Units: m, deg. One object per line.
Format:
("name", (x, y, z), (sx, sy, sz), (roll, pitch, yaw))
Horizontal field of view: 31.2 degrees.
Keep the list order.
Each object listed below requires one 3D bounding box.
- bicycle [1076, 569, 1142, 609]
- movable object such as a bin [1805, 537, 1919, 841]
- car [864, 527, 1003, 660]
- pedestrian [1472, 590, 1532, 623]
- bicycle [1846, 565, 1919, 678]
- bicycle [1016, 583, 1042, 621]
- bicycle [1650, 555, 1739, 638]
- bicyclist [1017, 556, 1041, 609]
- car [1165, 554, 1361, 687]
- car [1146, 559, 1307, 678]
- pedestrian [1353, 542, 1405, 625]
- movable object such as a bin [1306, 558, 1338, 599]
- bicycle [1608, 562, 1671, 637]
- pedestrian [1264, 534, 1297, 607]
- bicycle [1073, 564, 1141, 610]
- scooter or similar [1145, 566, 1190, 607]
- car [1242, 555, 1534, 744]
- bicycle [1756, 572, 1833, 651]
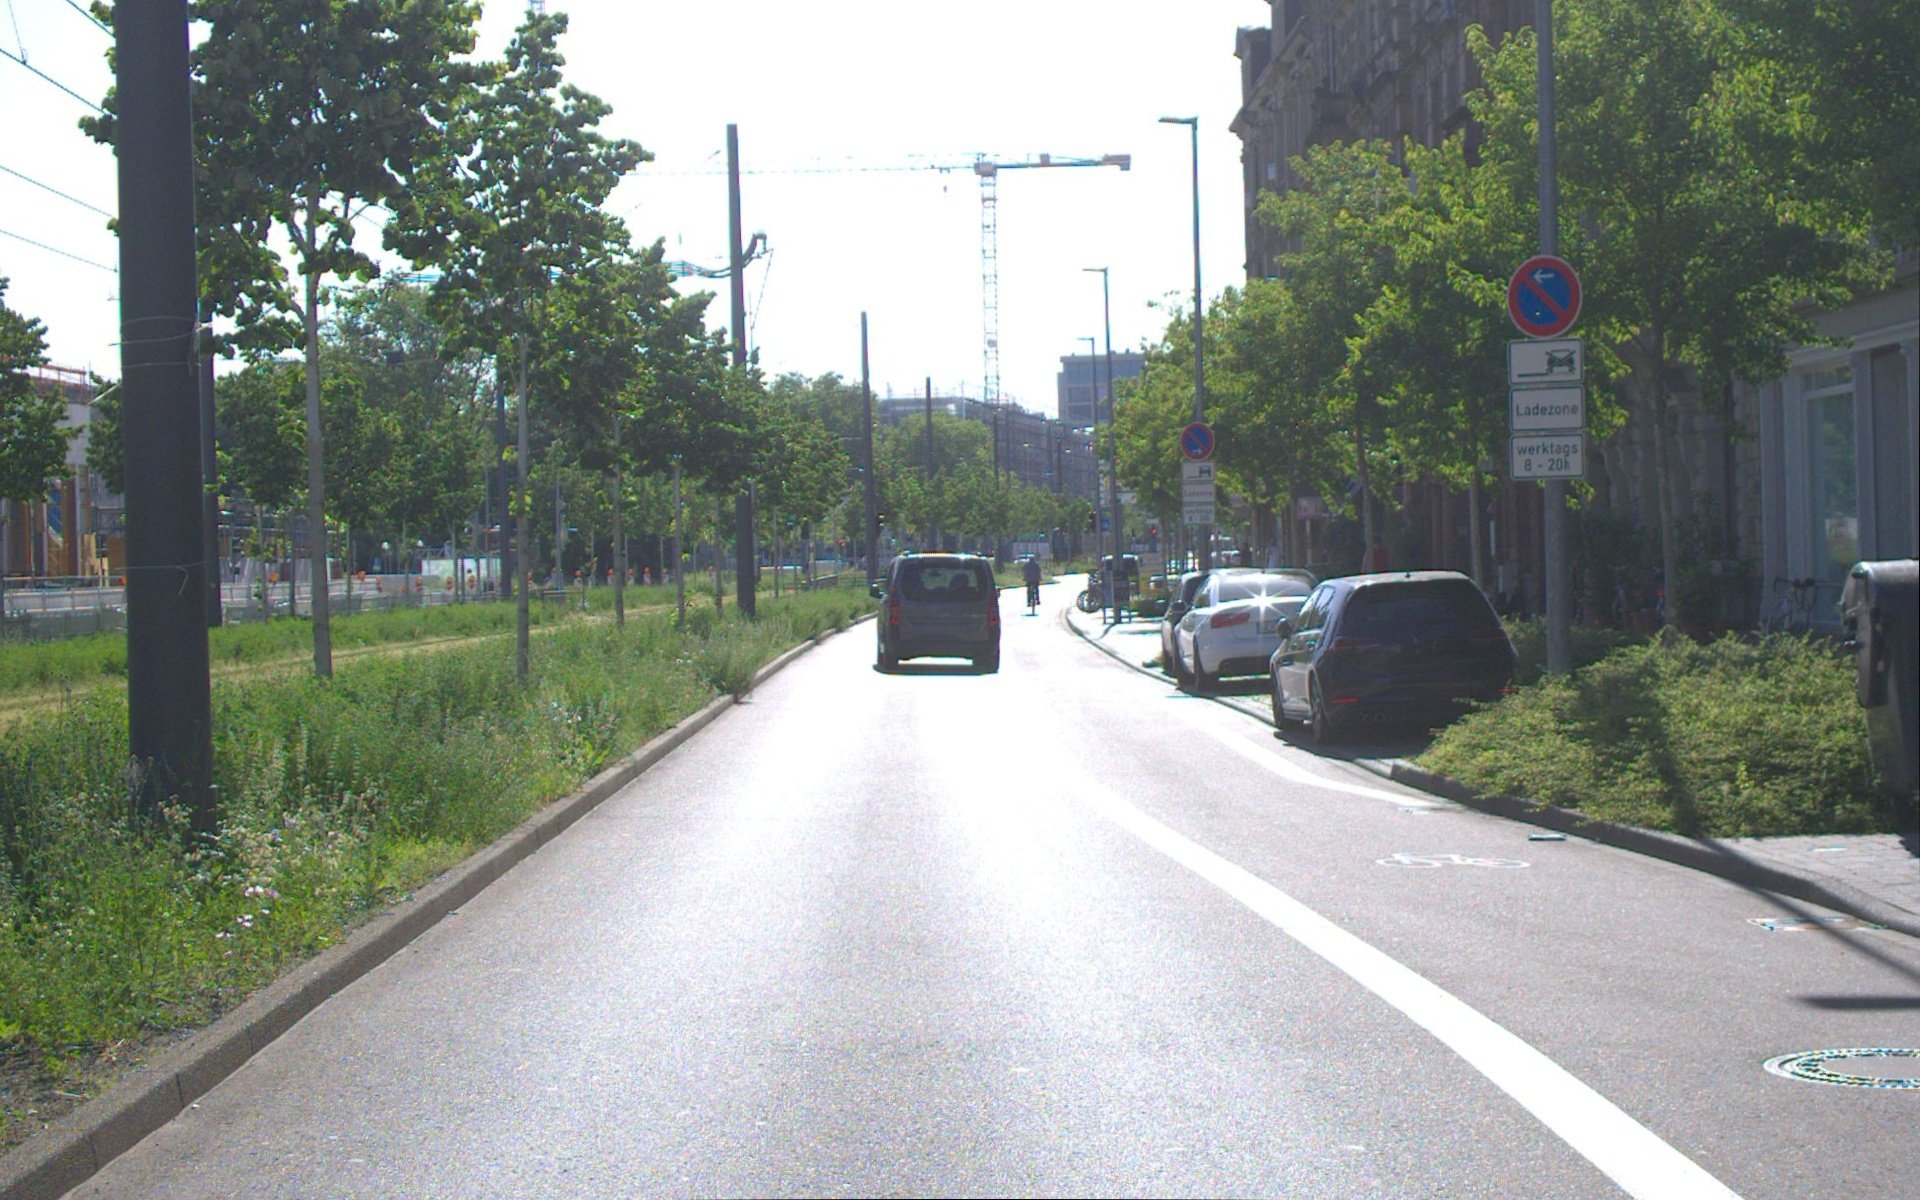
("bicycle", (4.442, -0.321, 102.514), (1.824, 1.075, 0.665), (-4, 0, -6))
("movable object such as a bin", (5.232, 0.424, 18.024), (1.271, 1.458, 1.644), (-2, 3, 4))
("car", (-0.456, -0.096, 53.932), (1.993, 2.007, 4.000), (0, 0, -3))
("pedestrian", (10.116, 0.111, 64.211), (0.773, 0.551, 2.007), (-1, 1, -1))
("bicycle", (10.145, 0.206, 36.248), (0.875, 1.101, 2.182), (-4, 1, -3))
("bicycle", (2.080, 0.054, 103.801), (0.701, 1.087, 2.277), (-1, 1, -1))
("bicycle", (10.110, -0.062, 47.382), (0.721, 1.086, 2.198), (-2, 1, 0))
("bicyclist", (2.085, -0.534, 103.923), (0.683, 1.579, 0.840), (-1, 1, -1))
("car", (3.772, 0.222, 43.611), (1.951, 1.490, 5.105), (-3, 0, 0))
("car", (3.858, 0.255, 50.346), (1.884, 1.564, 4.220), (-3, 0, -1))
("pedestrian", (8.806, -0.342, 72.274), (0.996, 1.725, 0.866), (0, 0, -1))
("movable object such as a bin", (9.759, -0.592, 92.735), (0.725, 1.094, 0.748), (-1, 1, -5))
("bicycle", (10.215, -0.016, 51.728), (0.481, 1.086, 2.057), (-2, 1, 0))
("pedestrian", (8.947, -0.825, 95.954), (0.817, 2.007, 1.046), (0, -2, 0))
("bicycle", (4.318, -0.384, 100.979), (1.878, 1.229, 0.500), (-4, 0, -6))
("scooter or similar", (5.930, -0.378, 98.123), (1.220, 1.102, 0.783), (-2, 1, 3))
("car", (3.758, 0.421, 30.903), (1.765, 1.472, 4.449), (-3, 0, -3))
("bicycle", (10.388, 0.132, 42.836), (0.447, 0.942, 2.013), (0, 1, -1))
